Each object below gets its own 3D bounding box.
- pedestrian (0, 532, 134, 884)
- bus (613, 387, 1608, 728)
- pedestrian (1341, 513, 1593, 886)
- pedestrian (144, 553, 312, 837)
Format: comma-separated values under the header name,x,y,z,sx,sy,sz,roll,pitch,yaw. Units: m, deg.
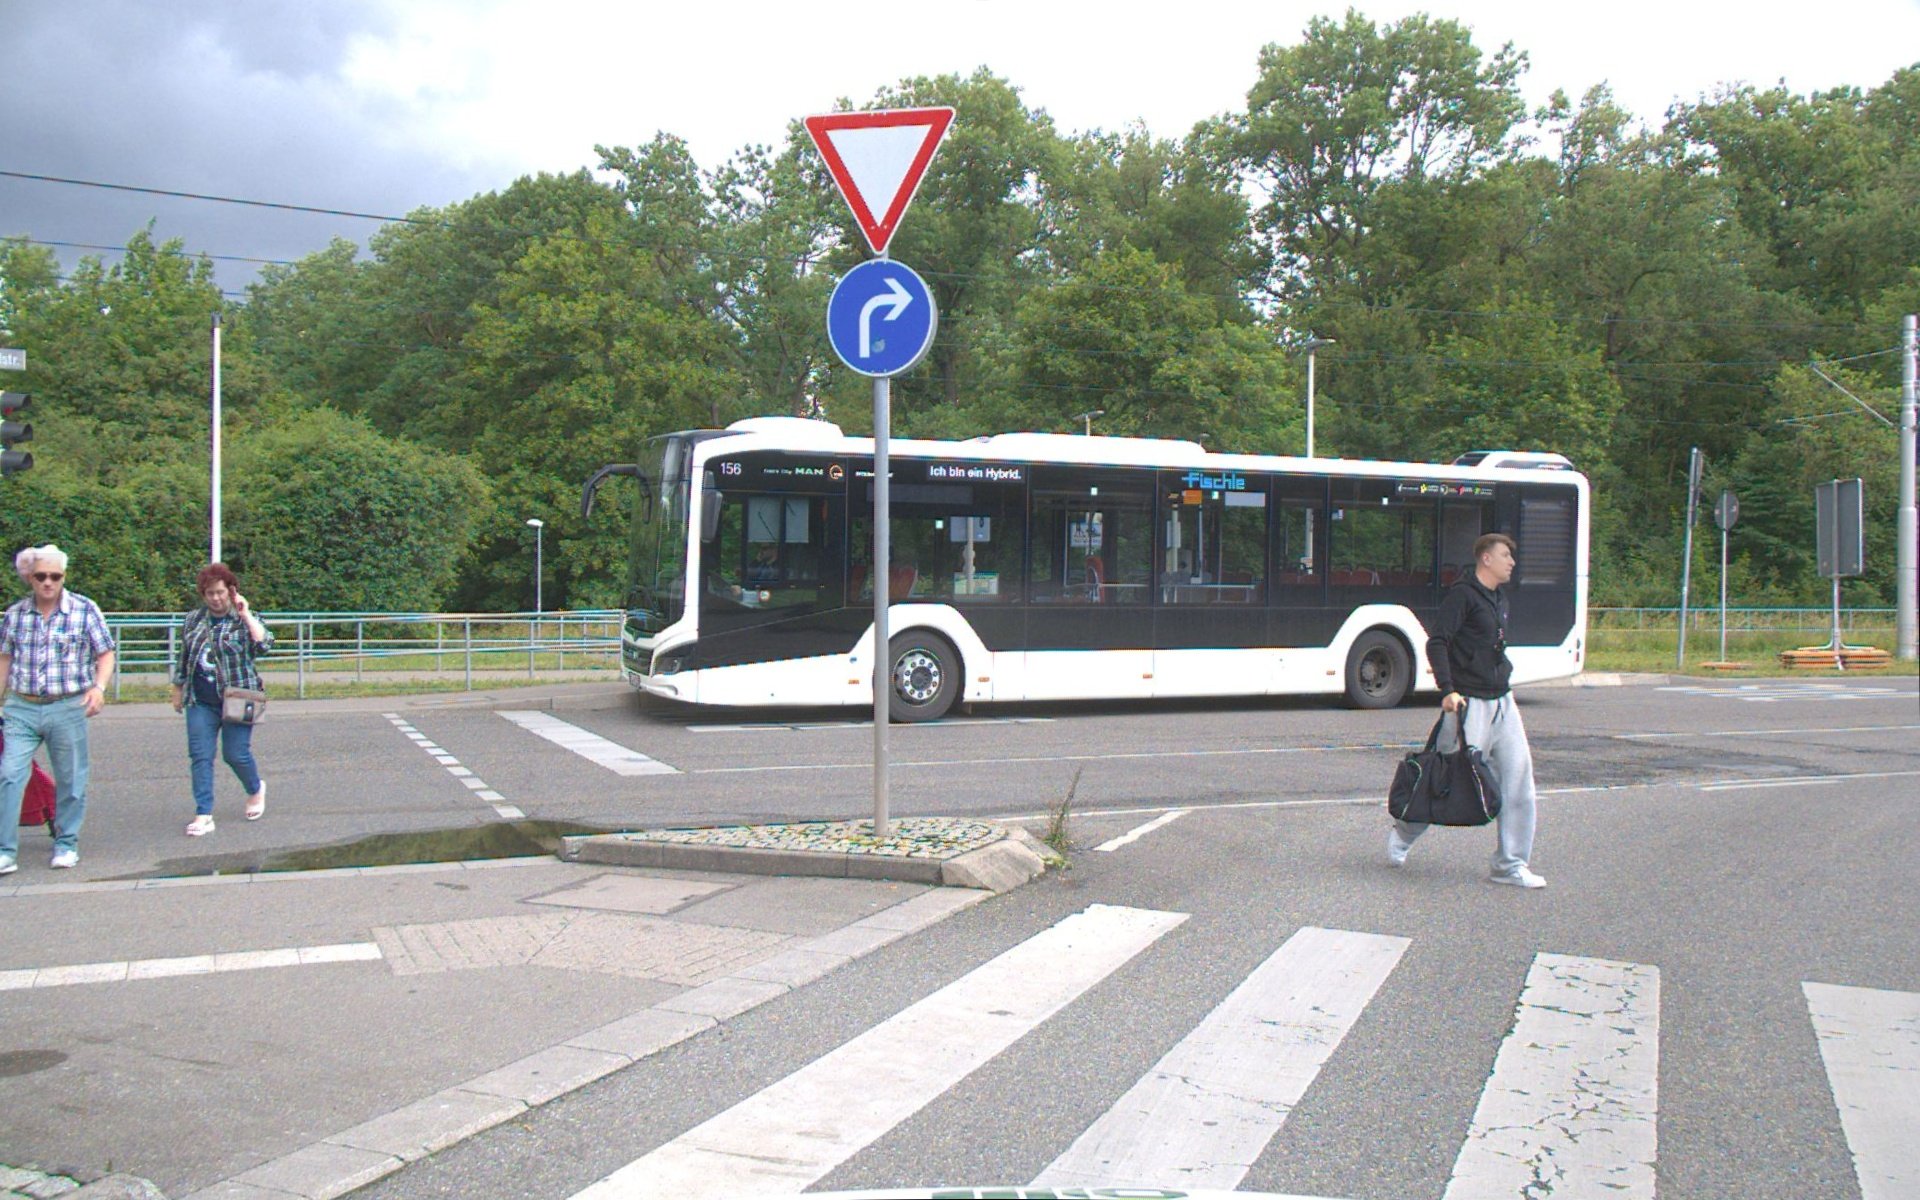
name,x,y,z,sx,sy,sz,roll,pitch,yaw
pedestrian,-4.515,0.513,8.235,0.689,1.662,0.716,-1,-1,-28
bus,2.157,-0.401,19.532,12.000,3.259,2.655,0,0,-24
pedestrian,2.555,0.478,8.460,0.935,1.777,1.062,1,0,-1
pedestrian,-4.265,0.535,9.682,0.676,1.594,0.732,1,0,-5
